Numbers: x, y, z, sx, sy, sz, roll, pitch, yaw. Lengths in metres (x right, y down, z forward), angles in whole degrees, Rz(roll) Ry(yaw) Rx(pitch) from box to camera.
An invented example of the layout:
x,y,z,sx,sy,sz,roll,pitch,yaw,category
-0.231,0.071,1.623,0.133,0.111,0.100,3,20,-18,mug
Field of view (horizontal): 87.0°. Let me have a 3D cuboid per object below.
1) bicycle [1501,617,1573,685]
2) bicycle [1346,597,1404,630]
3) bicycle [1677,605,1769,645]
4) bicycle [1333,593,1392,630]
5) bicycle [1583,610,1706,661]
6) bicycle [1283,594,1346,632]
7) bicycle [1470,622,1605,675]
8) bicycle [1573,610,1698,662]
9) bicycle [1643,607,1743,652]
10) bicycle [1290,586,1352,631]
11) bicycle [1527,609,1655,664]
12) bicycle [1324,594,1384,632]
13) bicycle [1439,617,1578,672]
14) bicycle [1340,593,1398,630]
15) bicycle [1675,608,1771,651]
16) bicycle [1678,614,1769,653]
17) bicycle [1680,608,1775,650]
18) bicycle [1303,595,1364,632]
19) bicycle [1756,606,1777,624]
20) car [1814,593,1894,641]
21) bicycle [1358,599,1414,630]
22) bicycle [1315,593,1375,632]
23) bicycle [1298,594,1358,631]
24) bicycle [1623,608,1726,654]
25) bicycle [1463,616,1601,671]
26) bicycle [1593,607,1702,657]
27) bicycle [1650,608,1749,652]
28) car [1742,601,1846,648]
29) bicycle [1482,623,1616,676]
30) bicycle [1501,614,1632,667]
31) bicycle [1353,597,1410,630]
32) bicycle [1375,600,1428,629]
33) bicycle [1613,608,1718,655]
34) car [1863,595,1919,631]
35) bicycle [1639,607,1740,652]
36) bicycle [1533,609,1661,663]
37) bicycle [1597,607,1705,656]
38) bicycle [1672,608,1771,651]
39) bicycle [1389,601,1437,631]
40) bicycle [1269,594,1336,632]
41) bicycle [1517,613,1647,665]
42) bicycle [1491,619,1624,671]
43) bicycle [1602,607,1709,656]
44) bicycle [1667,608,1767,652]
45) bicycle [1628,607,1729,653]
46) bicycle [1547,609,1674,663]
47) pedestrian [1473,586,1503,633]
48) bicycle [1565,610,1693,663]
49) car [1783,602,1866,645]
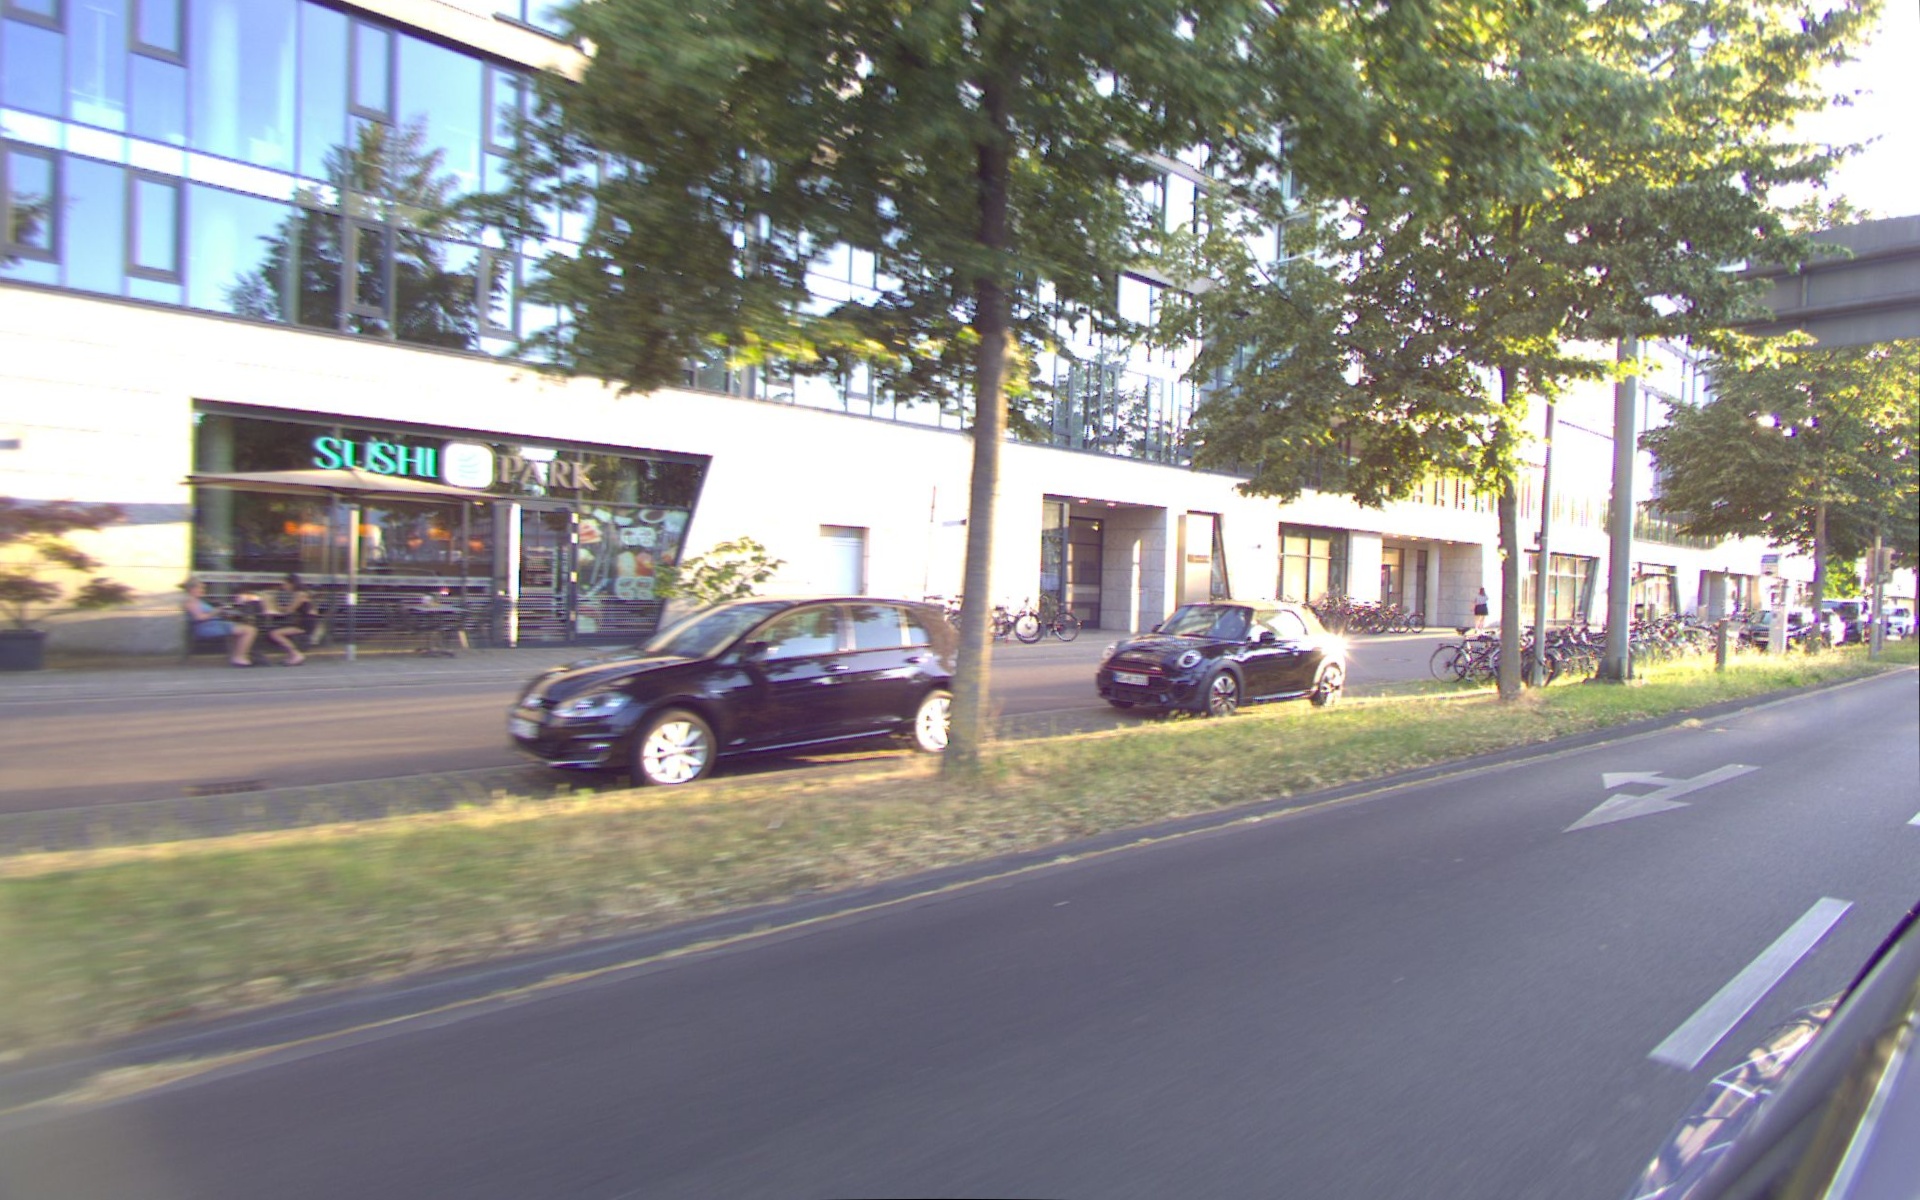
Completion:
x,y,z,sx,sy,sz,roll,pitch,yaw,category
8.986,0.773,15.727,1.813,0.992,0.319,1,1,-39,bicycle
14.289,0.450,34.869,0.437,1.060,1.835,1,1,-39,bicycle
20.657,0.686,27.450,1.935,1.067,0.538,-2,-3,36,bicycle
13.574,0.377,34.159,0.437,1.192,1.835,1,1,-39,bicycle
14.919,0.786,22.102,2.142,1.067,0.562,-3,-3,44,bicycle
11.177,0.391,31.939,0.494,1.135,1.833,1,1,-42,bicycle
10.806,0.909,19.018,2.142,0.952,0.436,-3,-3,44,bicycle
14.451,0.774,21.706,2.142,1.067,0.553,-3,-3,44,bicycle
18.109,0.740,25.031,1.941,1.067,0.309,-3,-3,43,bicycle
11.522,0.259,32.375,0.494,1.374,1.833,1,1,-42,bicycle
12.692,0.734,20.415,2.142,1.067,0.295,-3,-3,44,bicycle
13.143,0.431,33.783,0.494,1.192,1.833,1,1,-42,bicycle
9.973,0.814,18.469,2.142,0.952,0.537,-3,-3,44,bicycle
13.928,0.387,34.514,0.437,1.192,1.835,1,1,-39,bicycle
19.834,0.779,26.337,1.938,1.067,0.537,-2,-3,40,bicycle
21.558,0.961,28.602,0.535,1.067,1.945,1,-3,-40,bicycle
20.304,0.775,26.821,1.935,1.067,0.538,-2,-3,36,bicycle
12.192,0.417,33.087,0.494,1.127,1.833,1,1,-42,bicycle
47.937,0.898,60.156,1.858,1.052,0.596,1,1,-39,bicycle
37.423,0.681,42.340,4.585,1.875,1.997,1,1,-42,car
14.899,0.507,35.455,0.396,0.999,1.835,1,1,-39,bicycle
12.702,0.397,33.426,0.494,1.192,1.833,1,1,-42,bicycle
11.878,0.392,32.716,0.366,1.138,1.833,1,1,-42,bicycle
16.978,0.743,24.082,1.941,1.067,0.408,-3,-3,43,bicycle
10.498,0.799,18.641,2.142,0.952,0.436,-3,-3,44,bicycle
15.255,0.719,22.495,1.941,1.067,0.398,-3,-3,44,bicycle
18.436,0.752,25.271,1.941,1.067,0.402,-3,-3,43,bicycle
28.344,0.805,34.349,4.562,1.429,1.873,1,1,-39,car
11.179,0.929,19.281,0.445,0.952,2.143,1,-3,-44,bicycle
11.894,0.800,19.923,2.141,0.986,0.436,-3,-3,44,bicycle
14.637,0.454,35.198,0.396,1.070,1.835,1,1,-39,bicycle
15.629,0.514,35.864,0.396,0.964,1.748,1,1,-39,bicycle
16.441,0.742,23.615,1.941,1.067,0.408,-3,-3,43,bicycle
46.656,0.617,50.246,4.790,1.663,1.998,1,1,-39,car
17.825,0.740,24.759,1.941,1.067,0.342,-3,-3,43,bicycle
13.007,0.739,20.724,2.142,1.067,0.516,-3,-3,44,bicycle
15.550,0.724,22.804,1.941,1.067,0.398,-3,-3,44,bicycle
19.339,0.764,25.721,1.941,1.067,0.536,-3,-3,43,bicycle
16.532,0.570,36.966,0.396,0.999,1.579,1,1,-39,bicycle
10.648,0.387,31.522,0.494,1.113,1.985,1,1,-42,bicycle
12.355,0.779,20.159,2.142,0.999,0.436,-3,-3,44,bicycle
11.528,0.871,19.585,2.140,0.952,0.436,-3,-3,43,bicycle
15.887,0.728,23.161,0.397,1.067,1.943,1,-3,-42,bicycle
18.957,0.759,25.370,1.941,1.067,0.402,-3,-3,43,bicycle
17.412,0.738,24.563,1.941,1.067,0.408,-3,-3,43,bicycle
13.490,0.750,21.038,2.141,1.067,0.517,-3,-3,43,bicycle
19.412,0.345,37.205,0.937,1.669,0.644,1,1,-41,pedestrian
14.041,0.763,21.290,2.142,1.067,0.562,-3,-3,44,bicycle
32.804,0.852,38.361,4.585,1.490,1.812,1,1,-42,car
